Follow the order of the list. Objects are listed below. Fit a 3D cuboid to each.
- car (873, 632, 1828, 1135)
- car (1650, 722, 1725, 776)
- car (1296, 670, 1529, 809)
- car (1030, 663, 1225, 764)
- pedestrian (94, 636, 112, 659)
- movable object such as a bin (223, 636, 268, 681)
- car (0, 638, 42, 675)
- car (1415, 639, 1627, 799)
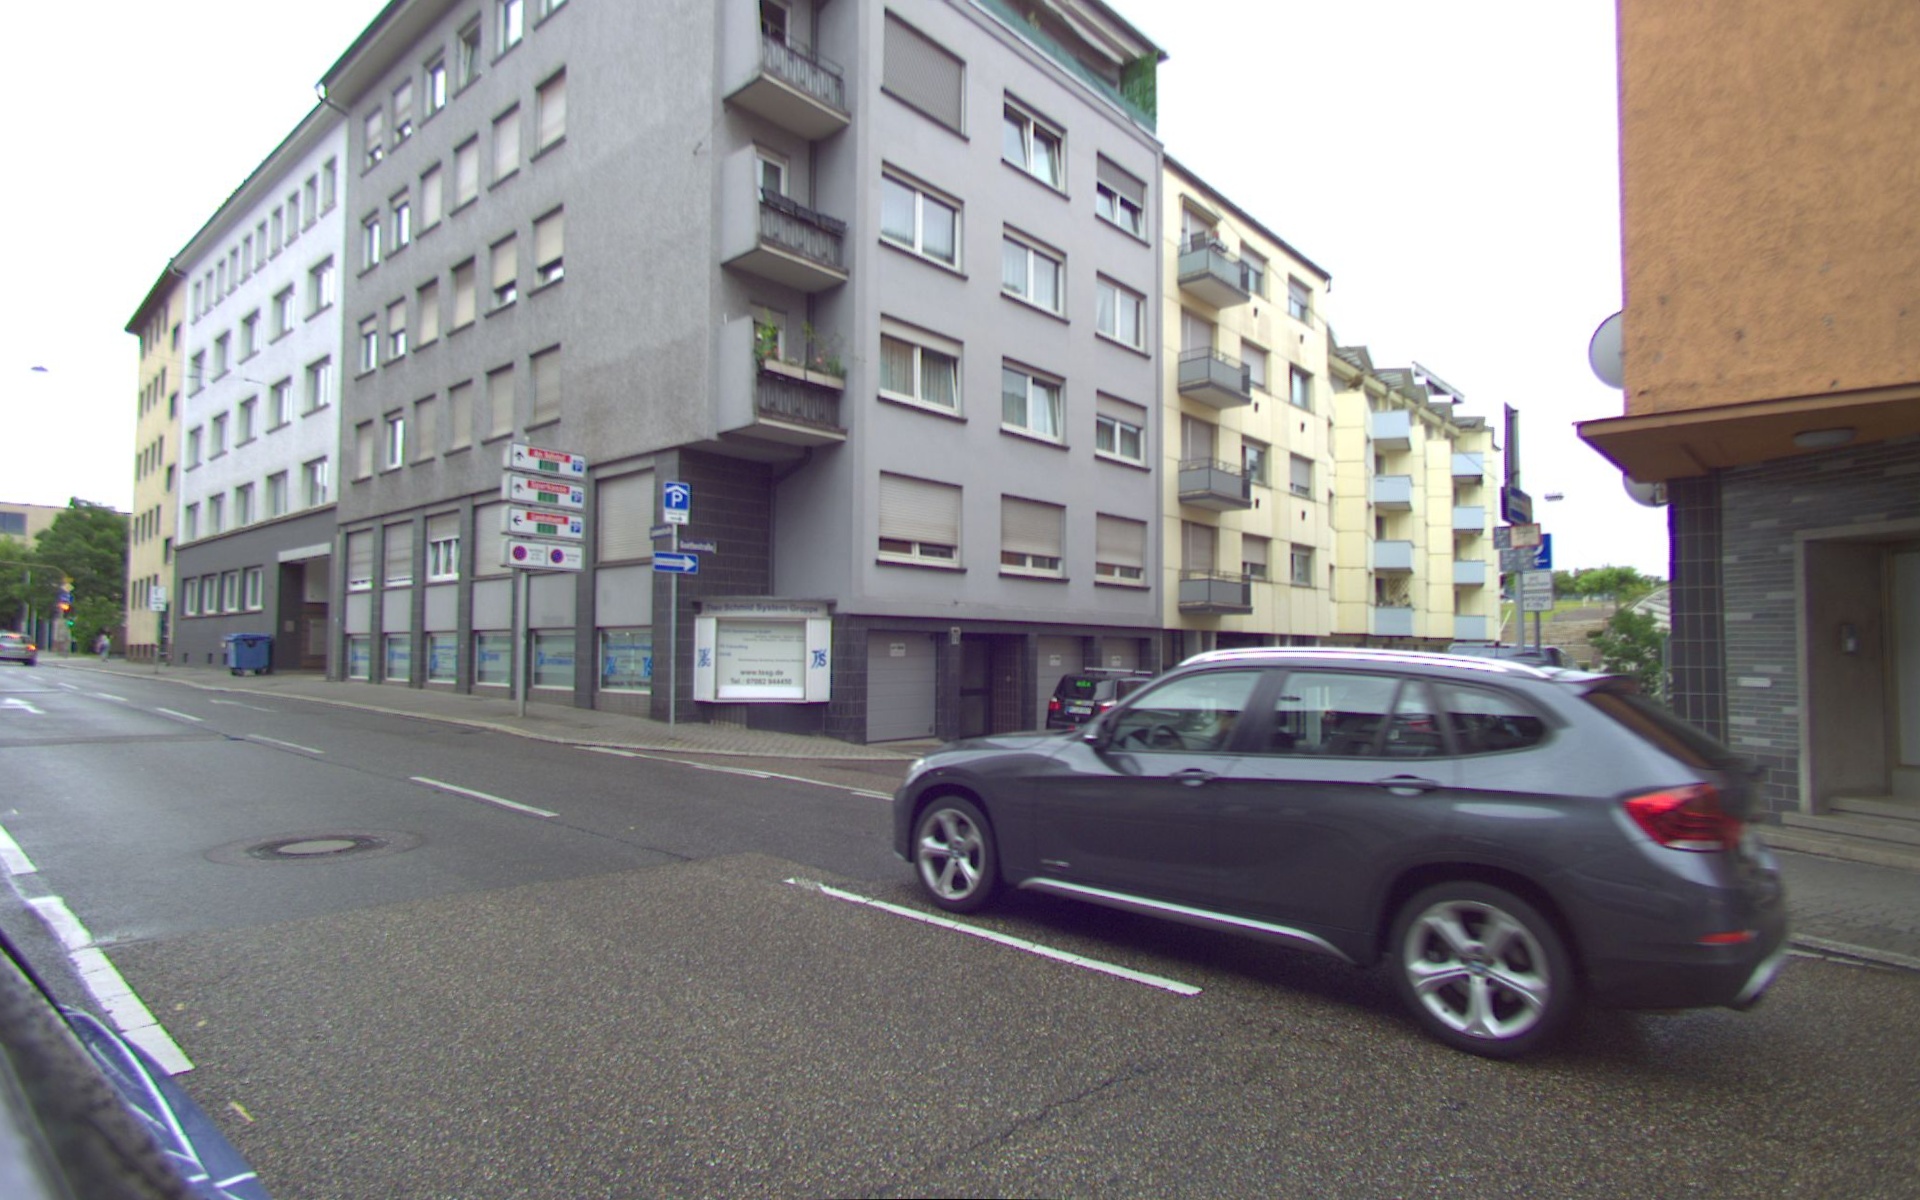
[{"bbox_3d":[1.641,0.973,5.140,4.157,1.519,1.685,-1,-5,41],"label":"car"},{"bbox_3d":[26.195,5.375,36.415,1.817,1.688,3.998,-1,-8,41],"label":"car"},{"bbox_3d":[6.435,1.950,14.142,1.842,1.589,4.098,-1,-8,41],"label":"car"},{"bbox_3d":[3.396,2.278,19.867,1.794,1.700,4.186,-1,-8,41],"label":"car"},{"bbox_3d":[-42.787,2.370,50.538,0.574,1.158,0.408,5,-5,-38],"label":"pedestrian"},{"bbox_3d":[-22.874,1.860,32.384,1.096,1.343,0.933,-1,0,41],"label":"movable object such as a bin"},{"bbox_3d":[-43.610,2.540,46.284,4.371,1.602,1.858,-1,-3,41],"label":"car"},{"bbox_3d":[10.614,2.225,18.840,2.249,2.481,5.975,-1,-7,41],"label":"car"}]
